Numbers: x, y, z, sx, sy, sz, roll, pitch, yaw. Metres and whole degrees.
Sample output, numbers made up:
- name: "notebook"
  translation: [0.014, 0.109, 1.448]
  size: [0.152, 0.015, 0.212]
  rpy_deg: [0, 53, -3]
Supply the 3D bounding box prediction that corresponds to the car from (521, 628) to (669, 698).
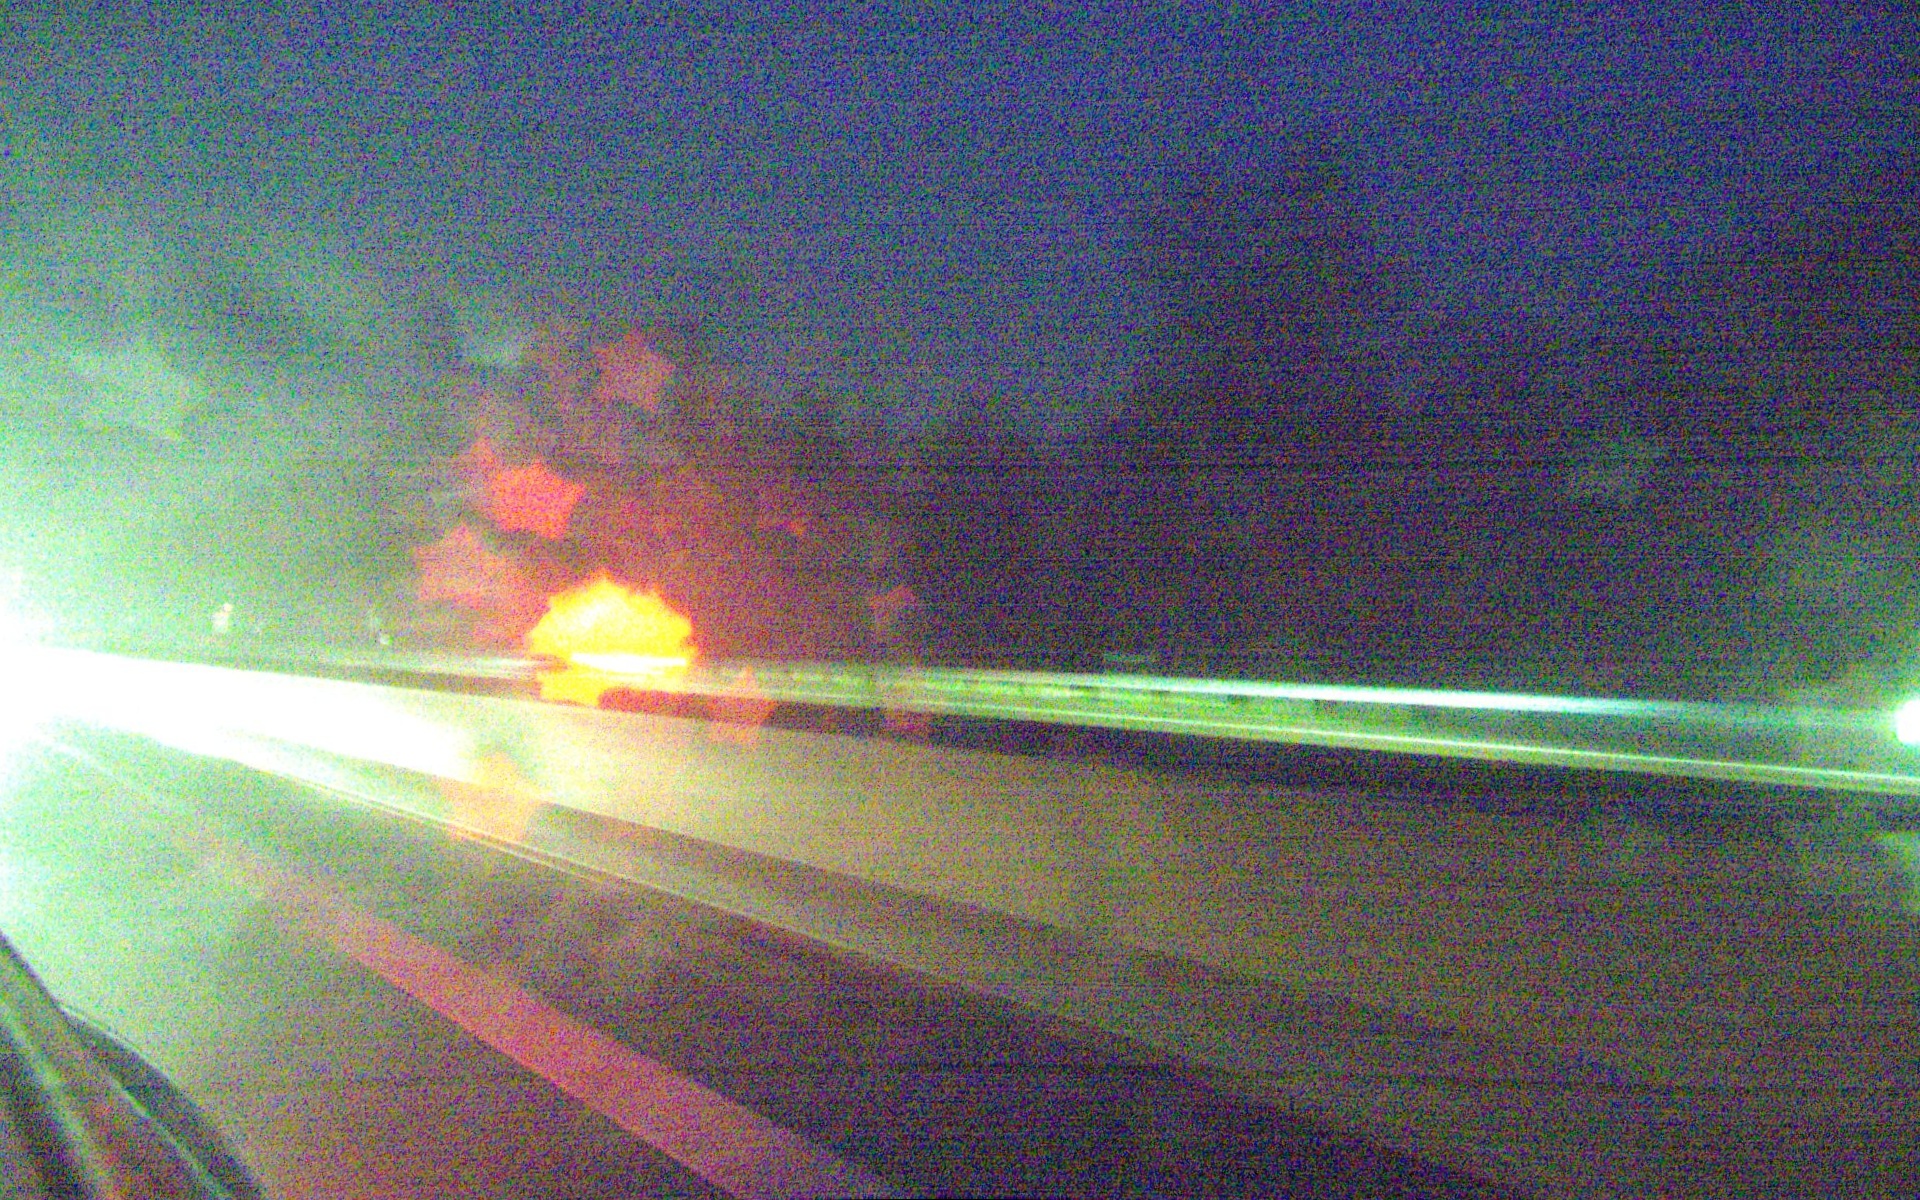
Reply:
- name: "car"
  translation: [-9.138, 1.497, 25.206]
  size: [3.971, 1.586, 1.778]
  rpy_deg: [-1, -2, 41]
